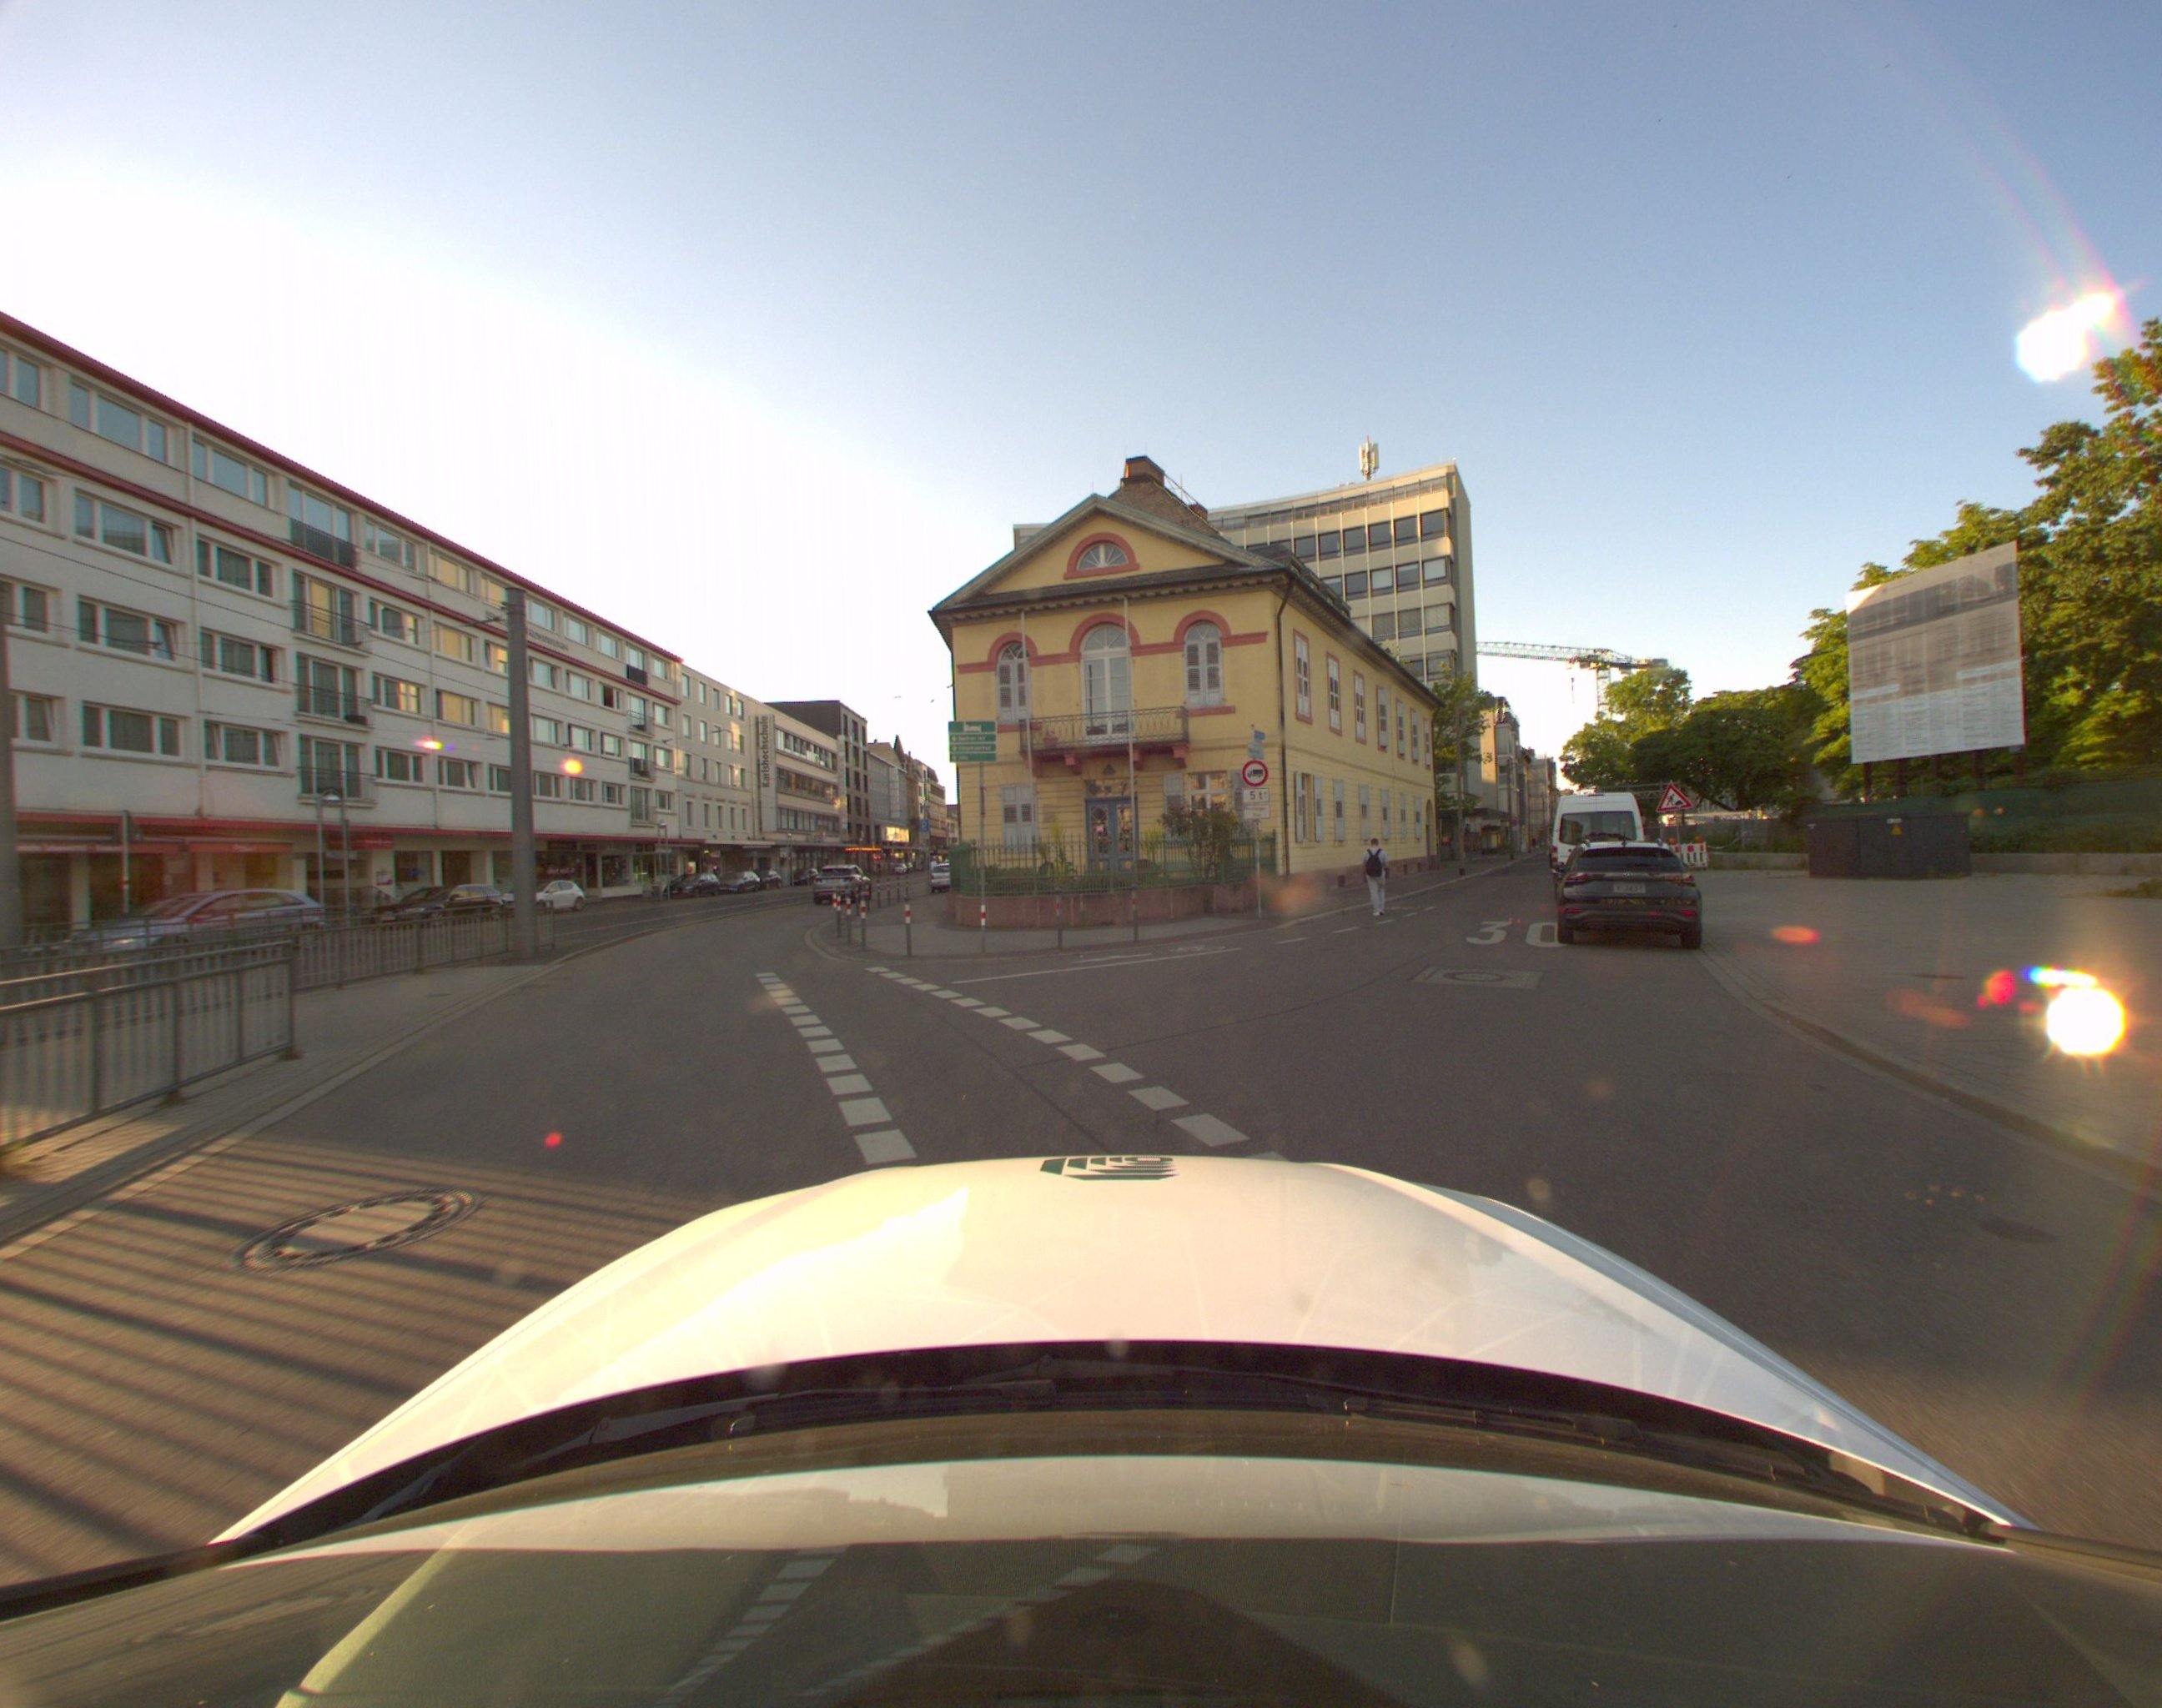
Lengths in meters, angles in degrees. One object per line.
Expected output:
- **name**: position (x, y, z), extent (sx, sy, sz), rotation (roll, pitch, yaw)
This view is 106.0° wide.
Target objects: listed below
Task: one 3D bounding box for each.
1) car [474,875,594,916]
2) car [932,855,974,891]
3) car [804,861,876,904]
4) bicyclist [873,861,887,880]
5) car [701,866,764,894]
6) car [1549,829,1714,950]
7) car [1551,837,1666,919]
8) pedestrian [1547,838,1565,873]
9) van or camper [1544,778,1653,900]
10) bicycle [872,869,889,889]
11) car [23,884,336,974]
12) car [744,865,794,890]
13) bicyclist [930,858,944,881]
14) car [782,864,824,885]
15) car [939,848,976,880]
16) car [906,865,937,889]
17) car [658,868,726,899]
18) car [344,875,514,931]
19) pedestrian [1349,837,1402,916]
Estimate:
- **car**: position (-23.166, 1.711, 34.713), extent (1.986, 1.465, 4.404), rotation (-2, 0, 2)
- **car**: position (-6.558, 0.932, 41.981), extent (1.728, 1.708, 3.435), rotation (-2, 0, -3)
- **car**: position (-10.344, 1.181, 35.334), extent (1.939, 1.661, 4.530), rotation (-1, 0, -3)
- **bicyclist**: position (-22.231, 1.826, 90.078), extent (1.164, 2.013, 1.044), rotation (-2, 0, -4)
- **car**: position (-23.299, 1.725, 54.662), extent (1.986, 1.665, 4.640), rotation (-2, 0, 2)
- **car**: position (8.370, 0.434, 12.661), extent (1.761, 1.543, 4.318), rotation (-2, 0, 31)
- **car**: position (10.777, 0.401, 16.718), extent (1.712, 1.429, 4.502), rotation (-2, 0, 33)
- **pedestrian**: position (22.699, 0.058, 38.914), extent (0.607, 1.628, 0.823), rotation (-2, 0, 35)
- **van or camper**: position (13.897, -0.367, 21.756), extent (2.057, 2.774, 6.491), rotation (-2, 0, 34)
- **bicycle**: position (-22.207, 2.755, 90.165), extent (1.177, 2.013, 3.337), rotation (-2, 0, -3)
- **car**: position (-20.078, 1.589, 18.499), extent (2.189, 1.559, 4.284), rotation (-2, 0, 3)
- **car**: position (-23.385, 1.759, 61.216), extent (1.986, 1.665, 4.002), rotation (-2, 0, 2)
- **bicyclist**: position (-10.043, 1.057, 56.759), extent (0.827, 1.568, 0.786), rotation (-2, -1, -3)
- **car**: position (-23.906, 1.735, 70.180), extent (1.986, 1.665, 4.002), rotation (-2, 0, 2)
- **car**: position (-7.171, 0.557, 47.650), extent (1.728, 1.708, 3.801), rotation (-2, 0, -3)
- **car**: position (-13.074, 1.894, 67.079), extent (1.803, 1.809, 3.996), rotation (-2, 0, -2)
- **car**: position (-23.232, 1.724, 48.758), extent (1.986, 1.665, 4.002), rotation (-2, 0, 2)
- **car**: position (-22.934, 1.659, 28.974), extent (1.986, 1.665, 4.842), rotation (-2, 0, 2)
- **pedestrian**: position (6.696, 0.500, 18.509), extent (0.868, 1.724, 0.835), rotation (-2, 0, 37)
